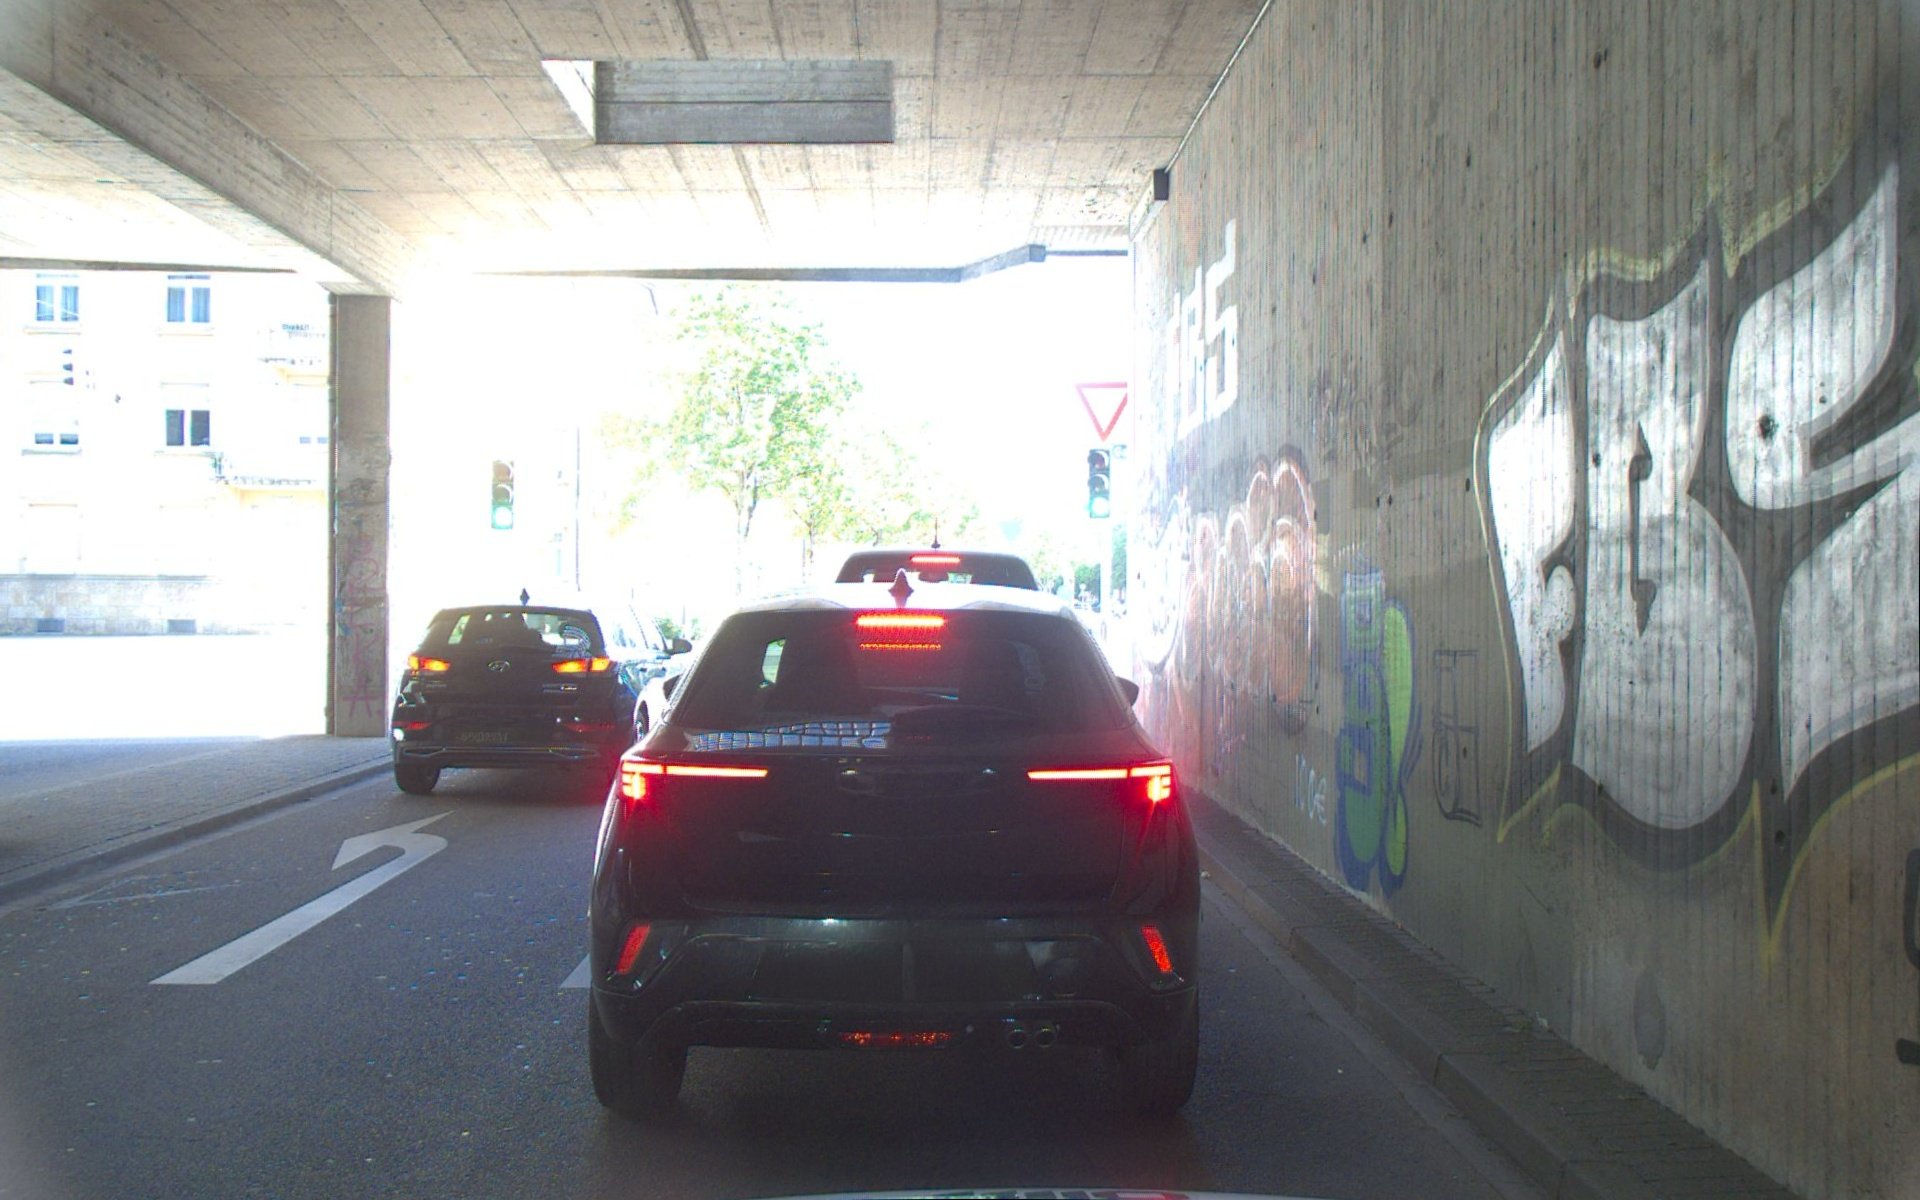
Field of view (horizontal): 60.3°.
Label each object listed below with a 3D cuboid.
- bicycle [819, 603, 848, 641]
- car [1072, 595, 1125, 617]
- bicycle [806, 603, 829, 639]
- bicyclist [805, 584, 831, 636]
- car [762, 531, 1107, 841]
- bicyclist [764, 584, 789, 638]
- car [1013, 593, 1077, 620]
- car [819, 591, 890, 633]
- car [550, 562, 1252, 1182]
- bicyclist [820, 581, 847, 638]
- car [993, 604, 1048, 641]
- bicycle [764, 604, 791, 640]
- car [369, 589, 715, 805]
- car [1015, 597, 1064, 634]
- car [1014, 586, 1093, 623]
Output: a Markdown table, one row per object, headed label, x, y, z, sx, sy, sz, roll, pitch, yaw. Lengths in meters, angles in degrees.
| label | x | y | z | sx | sy | sz | roll | pitch | yaw |
| --- | --- | --- | --- | --- | --- | --- | --- | --- | --- |
| bicycle | -3.928 | 0.677 | 51.615 | 0.683 | 1.109 | 1.861 | 0 | 2 | 2 |
| car | 13.482 | 0.553 | 161.302 | 4.802 | 2.119 | 1.978 | 0 | -1 | -15 |
| bicycle | -4.659 | 0.664 | 54.158 | 0.530 | 1.142 | 2.059 | 0 | 0 | 1 |
| bicyclist | -4.655 | 0.322 | 54.248 | 0.766 | 1.689 | 1.031 | 0 | 0 | 1 |
| car | -0.280 | 0.508 | 12.505 | 2.090 | 1.867 | 4.937 | 0 | 0 | -3 |
| bicyclist | -5.685 | 0.333 | 51.246 | 0.593 | 1.661 | 0.910 | 0 | 0 | 4 |
| car | 6.918 | 0.541 | 134.294 | 4.822 | 2.119 | 1.969 | 0 | -1 | -26 |
| car | -3.750 | 0.399 | 59.492 | 1.622 | 1.466 | 3.466 | 0 | 0 | 13 |
| car | -0.171 | 0.679 | 6.032 | 1.745 | 1.544 | 3.755 | 1 | 0 | -1 |
| bicyclist | -3.932 | 0.285 | 51.601 | 0.730 | 1.741 | 0.967 | 0 | 2 | 2 |
| car | 2.513 | 0.912 | 68.304 | 1.671 | 1.477 | 3.854 | 0 | 0 | 11 |
| bicycle | -5.658 | 0.671 | 51.299 | 0.514 | 1.109 | 1.861 | 0 | 0 | 4 |
| car | -3.177 | 0.653 | 13.484 | 1.764 | 1.476 | 4.325 | 0 | 0 | -1 |
| car | 3.647 | 0.685 | 75.081 | 1.668 | 1.539 | 3.866 | -2 | 0 | 11 |
| car | 6.537 | 0.316 | 116.185 | 5.175 | 2.590 | 1.977 | 0 | -1 | -16 |
